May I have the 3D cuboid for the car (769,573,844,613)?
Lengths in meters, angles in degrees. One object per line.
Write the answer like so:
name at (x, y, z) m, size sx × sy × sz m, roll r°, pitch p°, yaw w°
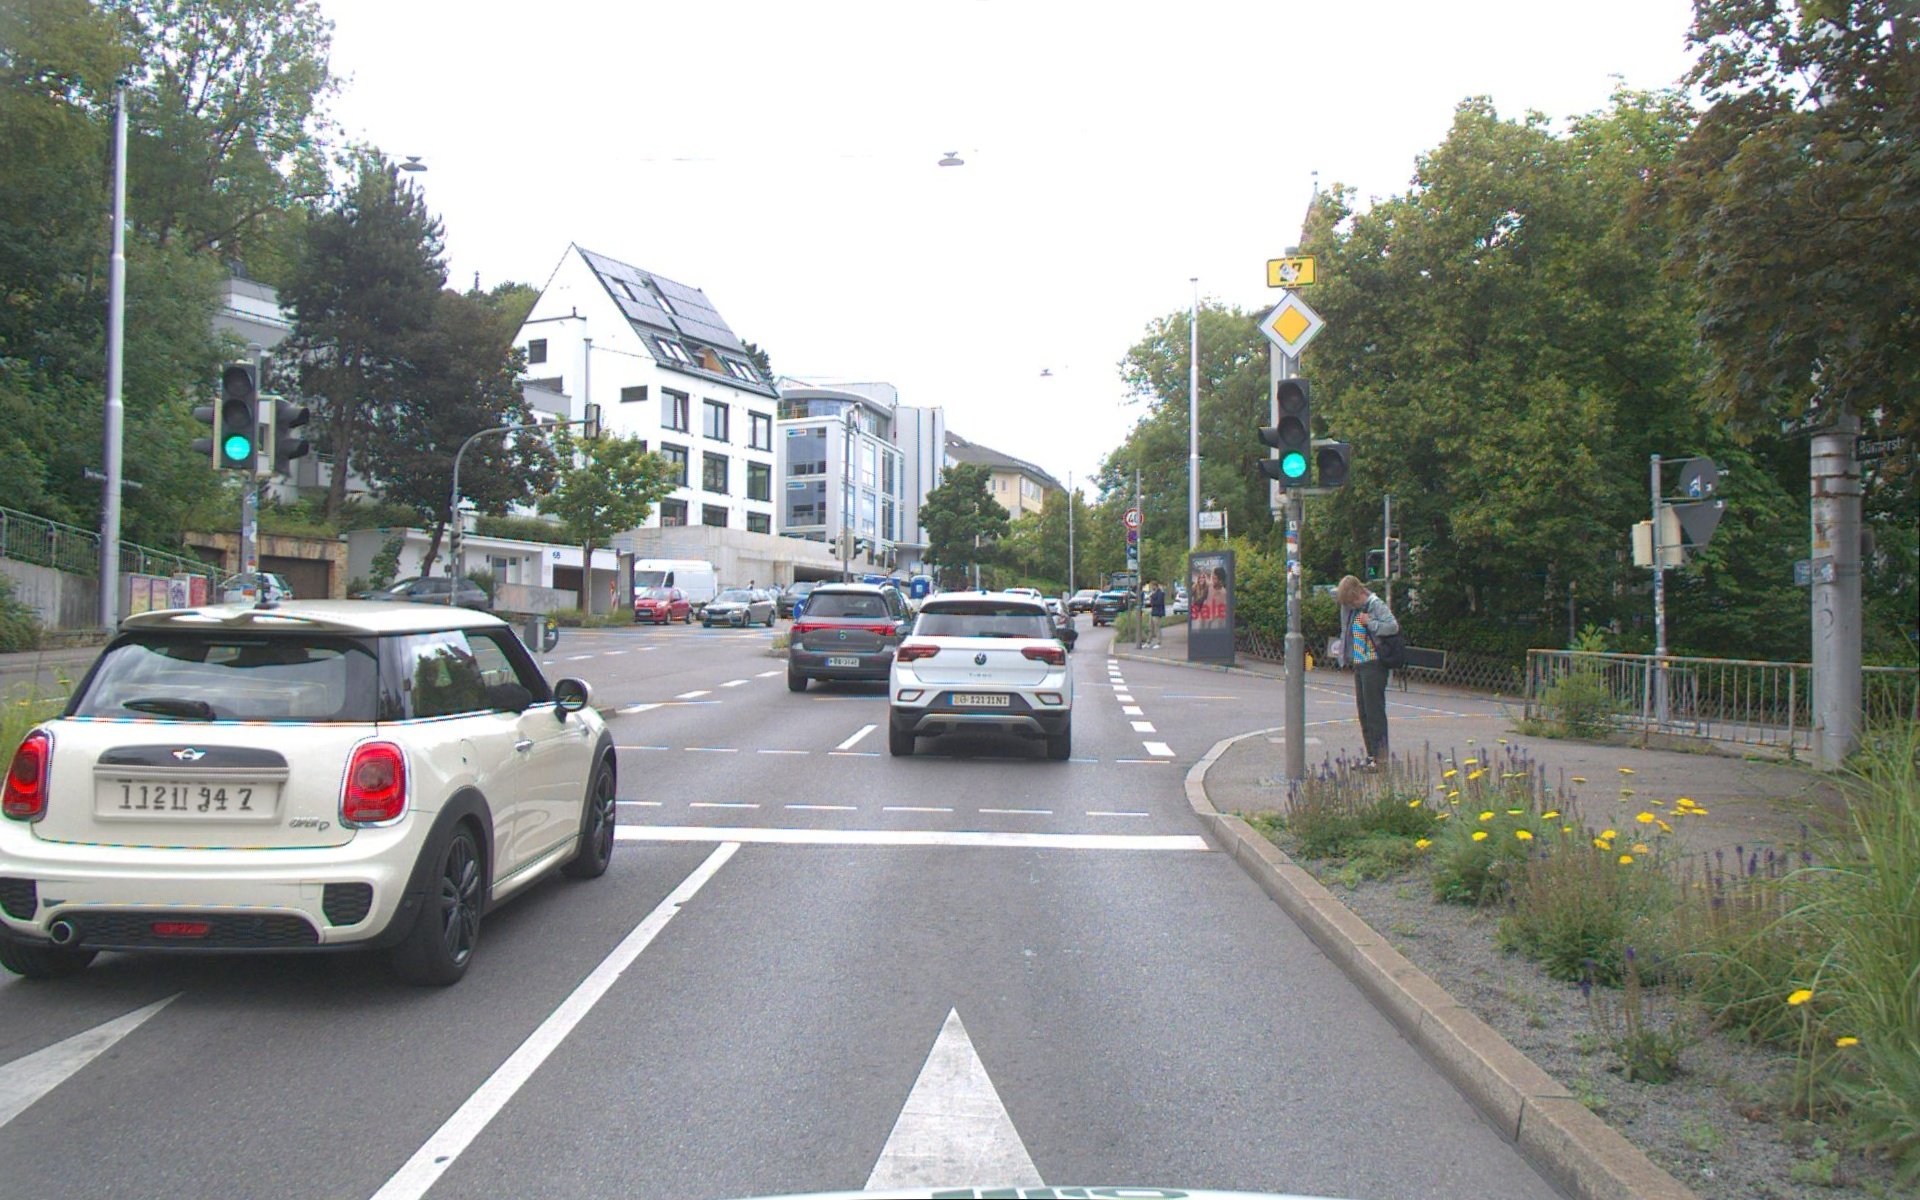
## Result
car at (-7.966, -0.365, 86.445) m, size 1.941 × 2.001 × 5.220 m, roll 1°, pitch 1°, yaw 19°

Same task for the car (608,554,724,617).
car at (-12.839, -0.639, 72.844) m, size 2.184 × 2.612 × 7.428 m, roll 0°, pitch 1°, yaw 14°

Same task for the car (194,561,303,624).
car at (-19.685, -0.205, 45.766) m, size 2.668 × 1.547 × 1.552 m, roll 4°, pitch -1°, yaw -25°

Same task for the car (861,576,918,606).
car at (-3.580, -0.461, 84.780) m, size 1.616 × 1.417 × 4.146 m, roll 3°, pitch 1°, yaw 16°

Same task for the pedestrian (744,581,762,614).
pedestrian at (-10.642, -0.149, 84.846) m, size 0.613 × 1.669 × 0.672 m, roll 3°, pitch 1°, yaw 20°

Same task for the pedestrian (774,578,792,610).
pedestrian at (-9.354, -0.321, 87.330) m, size 0.668 × 1.669 × 0.664 m, roll 2°, pitch 1°, yaw -34°

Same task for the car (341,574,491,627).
car at (-16.582, 0.003, 50.508) m, size 4.091 × 1.567 × 1.577 m, roll 0°, pitch 1°, yaw -38°

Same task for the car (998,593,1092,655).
car at (2.445, 0.659, 46.314) m, size 1.833 × 1.527 × 4.559 m, roll 4°, pitch 0°, yaw 12°

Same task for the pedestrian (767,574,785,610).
pedestrian at (-9.586, -0.423, 86.250) m, size 0.668 × 1.872 × 0.664 m, roll 2°, pitch 1°, yaw -34°

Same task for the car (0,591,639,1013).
car at (-2.616, 0.681, 7.426) m, size 1.594 × 1.417 × 3.566 m, roll 0°, pitch 1°, yaw 1°

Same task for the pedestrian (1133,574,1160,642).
pedestrian at (5.214, 0.227, 46.187) m, size 0.678 × 1.866 × 0.620 m, roll 2°, pitch 0°, yaw 6°

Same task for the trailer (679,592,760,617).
trailer at (-11.387, 0.208, 78.690) m, size 2.198 × 1.131 × 4.626 m, roll 1°, pitch 1°, yaw 14°

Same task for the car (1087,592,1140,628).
car at (7.167, 0.469, 76.783) m, size 1.833 × 1.527 × 4.559 m, roll 4°, pitch 0°, yaw 12°

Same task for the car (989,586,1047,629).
car at (2.395, 0.292, 67.402) m, size 1.818 × 1.681 × 4.640 m, roll 0°, pitch 1°, yaw 9°

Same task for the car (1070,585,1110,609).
car at (8.774, -0.212, 111.347) m, size 1.656 × 1.527 × 4.557 m, roll 2°, pitch 0°, yaw 17°

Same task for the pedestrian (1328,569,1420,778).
pedestrian at (3.527, 0.612, 14.061) m, size 0.678 × 1.718 × 0.620 m, roll -1°, pitch -1°, yaw 20°

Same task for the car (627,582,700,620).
car at (-11.800, 0.023, 66.073) m, size 1.587 × 1.491 × 3.930 m, roll 0°, pitch 1°, yaw 10°

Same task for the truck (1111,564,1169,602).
truck at (15.092, -1.394, 138.028) m, size 2.899 × 3.023 × 8.982 m, roll 1°, pitch 1°, yaw 18°

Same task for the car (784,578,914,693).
car at (-1.699, 0.503, 26.637) m, size 1.775 × 1.681 × 4.636 m, roll 0°, pitch 1°, yaw 0°

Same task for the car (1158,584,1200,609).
car at (13.647, -0.258, 103.093) m, size 1.819 × 1.526 × 4.057 m, roll 0°, pitch 1°, yaw 19°

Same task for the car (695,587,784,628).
car at (-8.432, 0.259, 63.779) m, size 1.616 × 1.474 × 4.569 m, roll 2°, pitch 1°, yaw 17°

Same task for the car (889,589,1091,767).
car at (0.193, 0.682, 16.642) m, size 1.775 × 1.566 × 3.687 m, roll 0°, pitch 1°, yaw -3°
